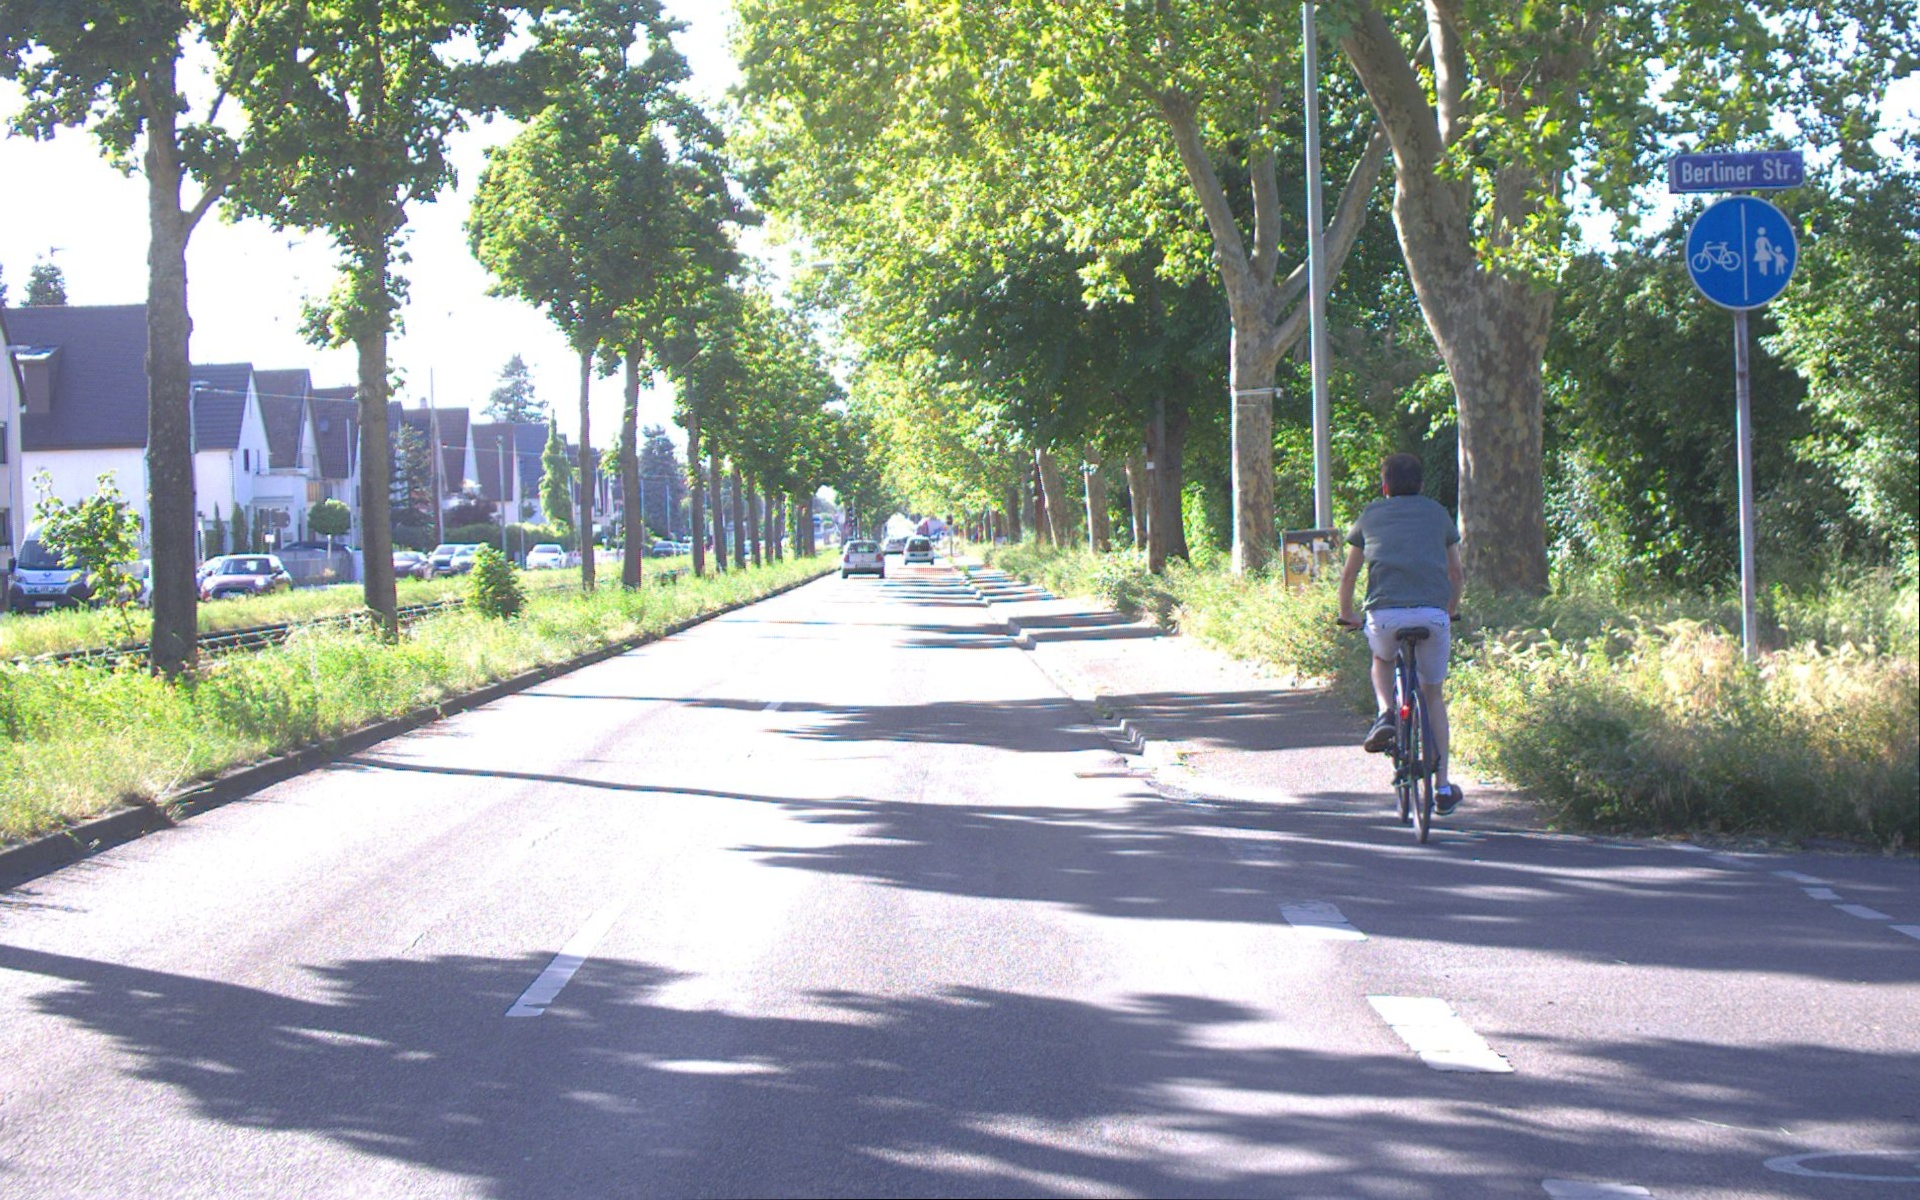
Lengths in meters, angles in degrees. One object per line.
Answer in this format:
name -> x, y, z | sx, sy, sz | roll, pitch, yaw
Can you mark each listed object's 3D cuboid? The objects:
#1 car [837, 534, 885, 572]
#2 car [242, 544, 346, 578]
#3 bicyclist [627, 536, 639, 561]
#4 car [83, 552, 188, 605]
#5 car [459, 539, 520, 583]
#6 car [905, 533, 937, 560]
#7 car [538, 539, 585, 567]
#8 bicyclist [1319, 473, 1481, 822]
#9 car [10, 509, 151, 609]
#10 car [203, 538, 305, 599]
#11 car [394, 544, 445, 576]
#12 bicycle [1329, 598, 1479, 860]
car -> -3.715, -1.750, 129.309 | 1.738, 1.396, 3.277 | 0, 1, -1
car -> -28.774, -1.683, 148.702 | 4.212, 1.458, 1.938 | 0, 1, -4
bicyclist -> -21.831, -3.441, 229.693 | 0.688, 1.646, 0.881 | 0, 1, -1
car -> -22.460, -0.605, 93.778 | 1.824, 1.407, 4.658 | 0, 1, -1
car -> -20.072, -1.668, 146.856 | 1.915, 1.876, 4.524 | 0, 1, 1
car -> -2.173, -2.979, 191.741 | 1.761, 1.508, 3.277 | 0, 1, 0
car -> -23.329, -2.745, 201.393 | 1.994, 1.593, 4.731 | 0, 1, 3
bicyclist -> 2.117, 0.214, 16.618 | 0.613, 1.623, 0.909 | -2, 1, -1
car -> -22.400, -1.055, 87.831 | 1.993, 2.451, 6.675 | 0, 1, -1
car -> -17.348, -0.787, 84.602 | 1.676, 1.405, 4.000 | -2, 1, 0
car -> -22.827, -1.678, 145.288 | 1.494, 1.321, 4.000 | 0, 1, 1
bicycle -> 2.130, 0.590, 16.640 | 0.440, 1.149, 1.823 | -2, 1, -1
